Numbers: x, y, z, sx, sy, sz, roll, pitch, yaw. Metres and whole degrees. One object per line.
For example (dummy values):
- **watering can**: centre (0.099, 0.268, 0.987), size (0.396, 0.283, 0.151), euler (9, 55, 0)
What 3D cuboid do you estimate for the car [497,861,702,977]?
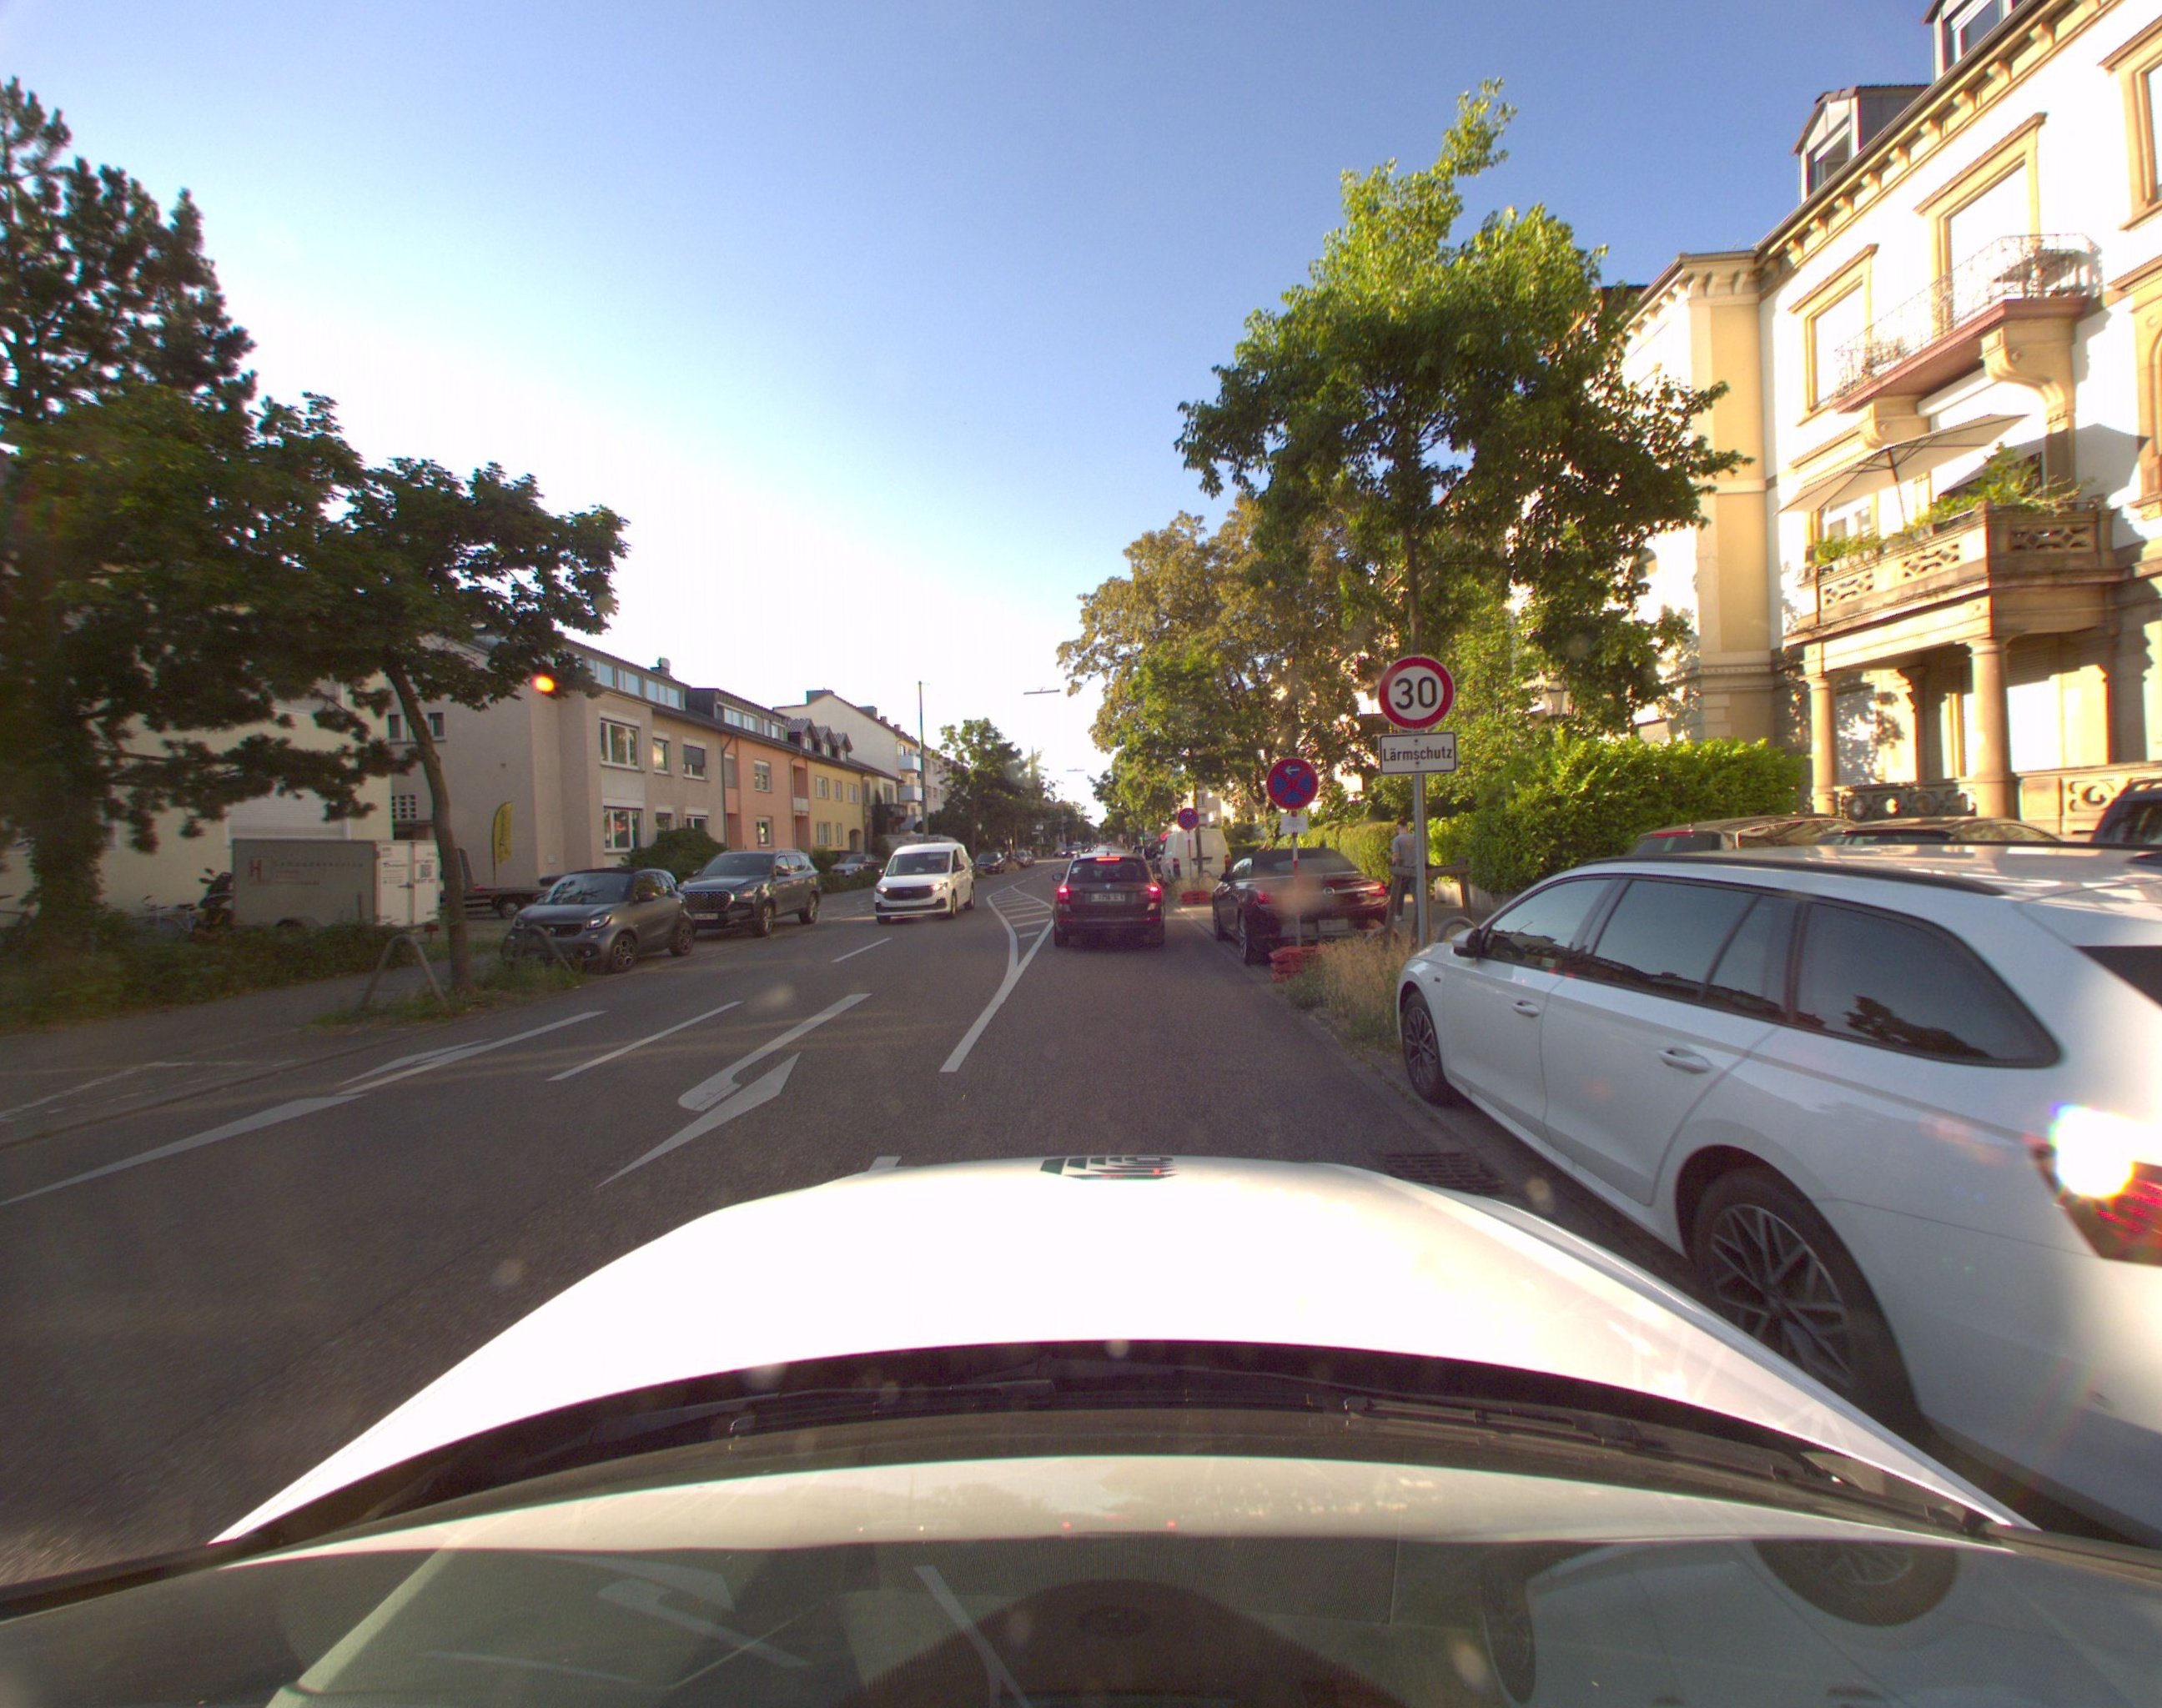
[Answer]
- **car**: centre (-7.525, 0.948, 13.022), size (1.567, 1.555, 2.750), euler (-2, 0, 0)

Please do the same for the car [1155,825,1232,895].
- **car**: centre (3.673, 0.160, 27.445), size (1.897, 2.103, 4.640), euler (-2, 0, 0)

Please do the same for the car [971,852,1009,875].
- **car**: centre (-6.137, 0.616, 55.281), size (1.860, 1.494, 4.519), euler (-1, 0, 2)

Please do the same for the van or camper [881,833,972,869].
- **van or camper**: centre (-12.225, -0.248, 64.731), size (6.774, 2.772, 2.352), euler (0, 0, 0)

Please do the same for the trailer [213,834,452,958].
- **trailer**: centre (-13.417, 0.707, 14.731), size (2.765, 2.013, 1.552), euler (-2, 0, -1)

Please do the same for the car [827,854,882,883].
- **car**: centre (-12.278, 0.749, 44.326), size (1.658, 1.409, 3.756), euler (-3, 0, 3)

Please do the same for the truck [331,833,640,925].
- **truck**: centre (-16.397, 0.647, 22.719), size (6.870, 2.185, 2.277), euler (-2, 0, 1)

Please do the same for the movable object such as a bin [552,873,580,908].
- **movable object such as a bin**: centre (-16.874, 1.194, 26.687), size (0.487, 1.090, 0.586), euler (-2, 0, 2)

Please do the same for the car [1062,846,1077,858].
- **car**: centre (-1.571, -0.261, 111.446), size (1.829, 1.570, 4.001), euler (-4, 0, 1)

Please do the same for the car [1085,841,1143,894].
- **car**: centre (1.048, 0.391, 26.462), size (1.730, 1.571, 4.002), euler (0, 0, 2)

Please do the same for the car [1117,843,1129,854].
- **car**: centre (7.162, -0.892, 138.632), size (1.984, 1.772, 4.005), euler (0, 0, 5)

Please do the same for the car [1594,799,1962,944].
- **car**: centre (9.435, 0.169, 11.077), size (4.248, 1.510, 1.782), euler (-4, 1, -17)

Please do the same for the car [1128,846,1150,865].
- **car**: centre (4.956, 0.083, 69.233), size (1.696, 1.450, 4.018), euler (-4, 0, 4)

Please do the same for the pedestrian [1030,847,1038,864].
- **pedestrian**: centre (-5.694, 0.208, 97.817), size (0.777, 1.987, 0.821), euler (-2, 0, 2)

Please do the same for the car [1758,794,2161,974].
- **car**: centre (9.595, 0.217, 8.833), size (4.103, 1.441, 1.704), euler (-4, 1, -22)

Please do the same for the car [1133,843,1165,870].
- **car**: centre (4.219, 0.119, 51.123), size (1.702, 1.480, 4.270), euler (-4, 0, 1)

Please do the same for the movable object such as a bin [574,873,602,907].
- **movable object such as a bin**: centre (-16.226, 1.185, 26.809), size (0.487, 1.090, 0.586), euler (-2, 0, 2)

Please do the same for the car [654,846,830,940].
- **car**: centre (-7.349, 0.741, 18.276), size (1.881, 1.779, 4.726), euler (-2, 0, 0)

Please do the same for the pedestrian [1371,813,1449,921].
- **pedestrian**: centre (5.674, 0.215, 14.108), size (0.818, 1.773, 1.088), euler (-2, 0, -3)

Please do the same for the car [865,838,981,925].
- **car**: centre (-3.768, 0.584, 20.244), size (1.882, 1.803, 4.431), euler (-4, 0, 0)

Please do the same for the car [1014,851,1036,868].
- **car**: centre (-5.281, 0.456, 76.841), size (1.642, 1.517, 4.076), euler (-1, 0, 2)

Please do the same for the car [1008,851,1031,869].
- **car**: centre (-5.434, 0.517, 72.212), size (1.587, 1.470, 3.805), euler (0, 0, 2)

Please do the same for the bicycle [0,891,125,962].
- **bicycle**: centre (-17.805, 1.225, 13.892), size (0.517, 1.063, 2.046), euler (-2, 0, 1)

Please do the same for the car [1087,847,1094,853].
- **car**: centre (2.682, -1.187, 238.174), size (1.823, 1.579, 4.002), euler (-3, 0, 2)

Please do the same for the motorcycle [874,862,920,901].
- **motorcycle**: centre (-6.527, 0.936, 28.733), size (1.184, 1.266, 2.352), euler (-3, 0, -22)

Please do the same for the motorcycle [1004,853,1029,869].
- **motorcycle**: centre (-5.426, 0.559, 68.501), size (2.028, 1.265, 0.772), euler (-2, 0, 40)

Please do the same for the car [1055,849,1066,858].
- **car**: centre (-3.377, -0.126, 134.587), size (1.517, 1.457, 3.586), euler (-2, 0, 2)

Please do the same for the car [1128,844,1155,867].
- **car**: centre (4.707, 0.106, 63.609), size (1.849, 1.581, 4.015), euler (-4, 0, 1)

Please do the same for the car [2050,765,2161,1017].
- **car**: centre (9.273, 0.144, 6.097), size (4.111, 1.699, 1.771), euler (-3, 0, -28)

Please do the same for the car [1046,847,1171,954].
- **car**: centre (0.443, 0.644, 13.758), size (1.766, 1.489, 4.312), euler (-1, 0, 1)

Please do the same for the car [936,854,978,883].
- **car**: centre (-6.567, 0.763, 43.497), size (1.537, 1.396, 3.667), euler (-2, 0, 1)

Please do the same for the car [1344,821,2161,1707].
- **car**: centre (2.668, 0.659, 3.309), size (1.814, 1.477, 4.624), euler (-2, 0, 2)

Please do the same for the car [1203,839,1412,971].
- **car**: centre (2.977, 0.575, 11.778), size (1.751, 1.420, 4.616), euler (-4, 0, 1)

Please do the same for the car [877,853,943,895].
- **car**: centre (-6.770, 0.751, 32.562), size (1.586, 1.523, 3.440), euler (-2, 0, 4)

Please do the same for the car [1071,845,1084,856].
- **car**: centre (-0.567, -0.603, 135.720), size (1.799, 1.804, 4.747), euler (-4, 0, 1)

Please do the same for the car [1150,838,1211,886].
- **car**: centre (3.840, 0.285, 32.045), size (1.849, 1.603, 4.313), euler (-5, 0, 1)

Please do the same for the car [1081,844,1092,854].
- **car**: centre (1.126, -1.031, 171.111), size (1.986, 1.908, 4.965), euler (-4, 0, 1)
